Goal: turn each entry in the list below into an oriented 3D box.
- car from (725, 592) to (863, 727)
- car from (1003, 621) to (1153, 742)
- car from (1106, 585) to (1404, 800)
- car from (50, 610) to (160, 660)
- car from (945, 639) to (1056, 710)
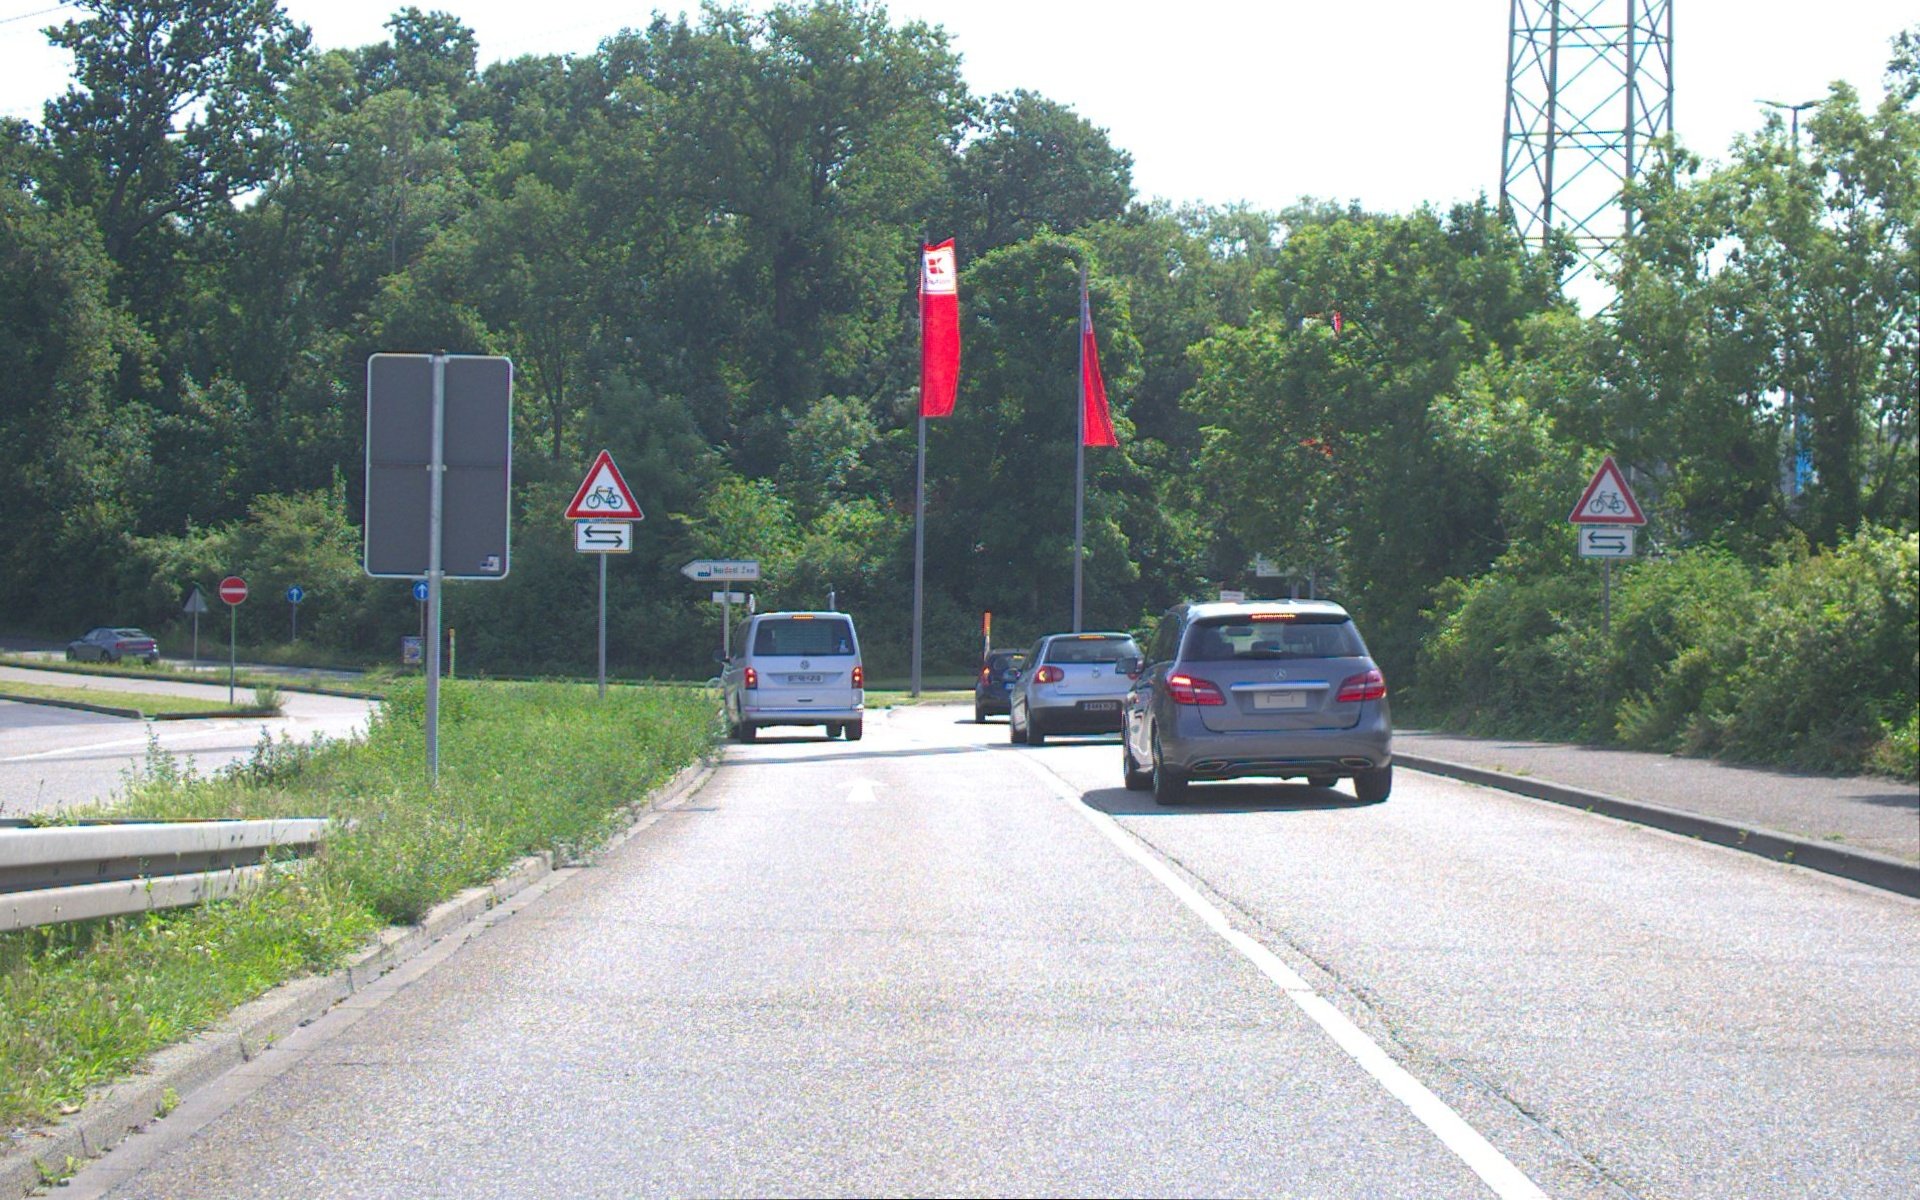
[{"bbox_3d":[-2.520,0.896,53.000,2.039,2.007,4.000,0,0,-2],"label":"car"},{"bbox_3d":[1.534,1.083,46.031,1.856,1.524,4.144,-1,-1,0],"label":"car"},{"bbox_3d":[2.236,0.662,27.116,1.856,1.524,4.144,-1,0,-2],"label":"car"},{"bbox_3d":[-29.963,1.202,120.453,3.651,1.561,1.649,2,3,30],"label":"car"},{"bbox_3d":[0.851,1.492,69.880,1.774,1.327,3.739,0,0,8],"label":"car"}]
